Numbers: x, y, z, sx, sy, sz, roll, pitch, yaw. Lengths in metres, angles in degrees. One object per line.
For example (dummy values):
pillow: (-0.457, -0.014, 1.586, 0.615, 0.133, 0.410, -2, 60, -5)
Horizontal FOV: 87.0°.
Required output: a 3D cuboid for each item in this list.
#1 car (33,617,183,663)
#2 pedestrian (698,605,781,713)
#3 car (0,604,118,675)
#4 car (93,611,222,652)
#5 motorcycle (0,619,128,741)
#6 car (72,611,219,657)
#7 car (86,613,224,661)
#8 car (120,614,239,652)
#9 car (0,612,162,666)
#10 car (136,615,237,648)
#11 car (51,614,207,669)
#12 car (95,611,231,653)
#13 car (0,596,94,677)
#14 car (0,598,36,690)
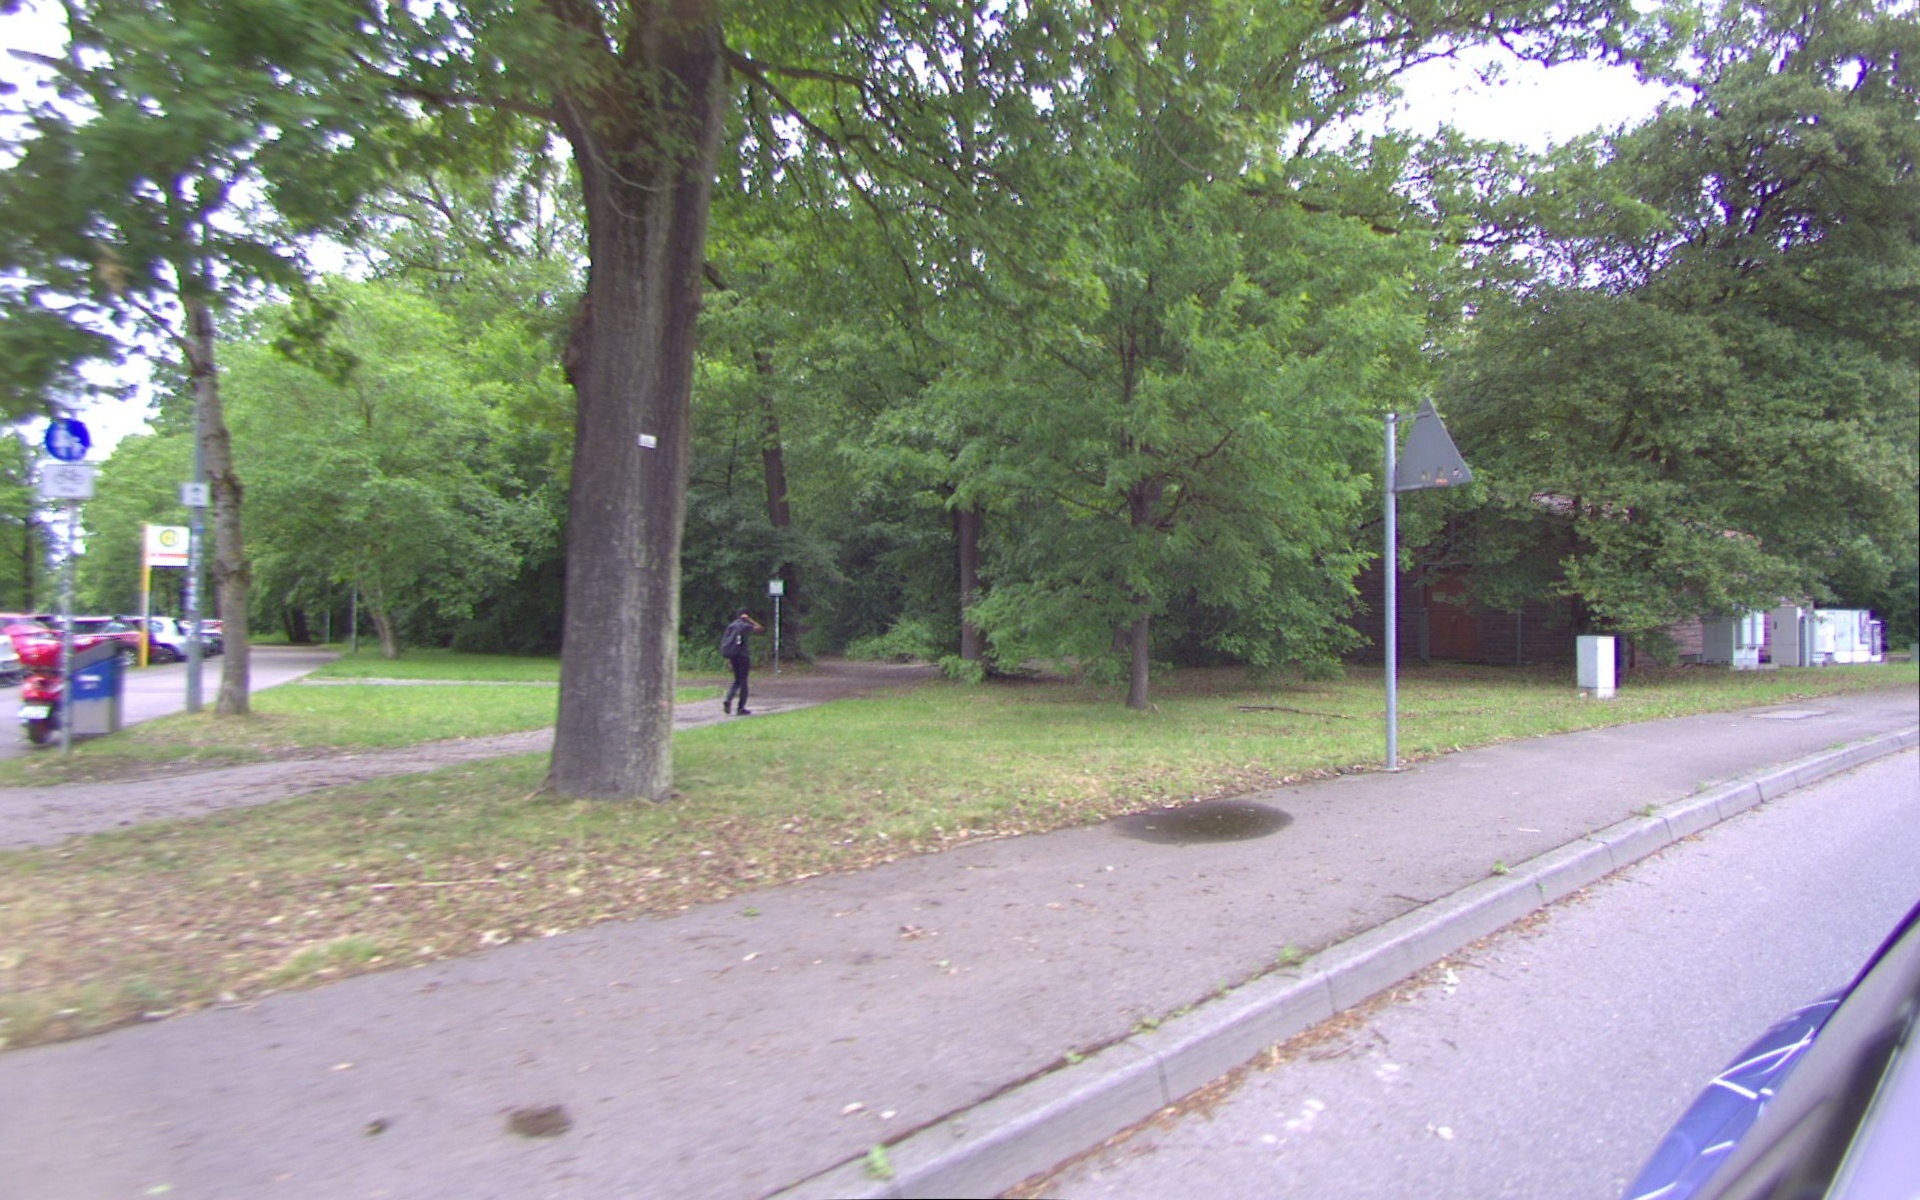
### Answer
car: (-25.774, 1.174, 30.729, 3.216, 1.278, 1.520, -1, -1, -28)
pedestrian: (-3.583, 0.934, 16.492, 0.828, 1.672, 1.023, -2, -1, 34)
car: (-20.880, 0.851, 21.700, 3.983, 1.476, 1.767, -1, -1, -22)
car: (-31.150, 1.197, 39.430, 3.695, 1.446, 1.759, -1, -1, -29)
motorcycle: (-9.896, 0.825, 11.228, 0.578, 1.219, 1.960, 0, -1, -26)
car: (-27.987, 1.152, 34.912, 3.695, 1.446, 1.759, -1, -1, -29)
car: (-26.168, 1.171, 33.015, 3.317, 1.460, 1.522, 0, -1, -30)
car: (-32.432, 1.348, 42.179, 3.695, 1.446, 1.659, -1, -1, -29)
car: (-23.158, 0.985, 26.256, 3.701, 1.282, 1.620, 0, -1, -33)
car: (-36.579, 1.473, 47.904, 3.764, 1.446, 1.655, 0, -1, -40)
car: (-23.738, 1.156, 29.050, 3.216, 1.448, 1.520, -1, -1, -28)
car: (-29.404, 1.148, 37.478, 3.695, 1.446, 1.759, -1, -1, -29)
car: (-19.746, 0.725, 19.617, 4.112, 1.514, 1.823, -1, -1, -22)
car: (-18.793, 0.786, 17.019, 4.439, 1.577, 1.846, -1, -1, -25)
